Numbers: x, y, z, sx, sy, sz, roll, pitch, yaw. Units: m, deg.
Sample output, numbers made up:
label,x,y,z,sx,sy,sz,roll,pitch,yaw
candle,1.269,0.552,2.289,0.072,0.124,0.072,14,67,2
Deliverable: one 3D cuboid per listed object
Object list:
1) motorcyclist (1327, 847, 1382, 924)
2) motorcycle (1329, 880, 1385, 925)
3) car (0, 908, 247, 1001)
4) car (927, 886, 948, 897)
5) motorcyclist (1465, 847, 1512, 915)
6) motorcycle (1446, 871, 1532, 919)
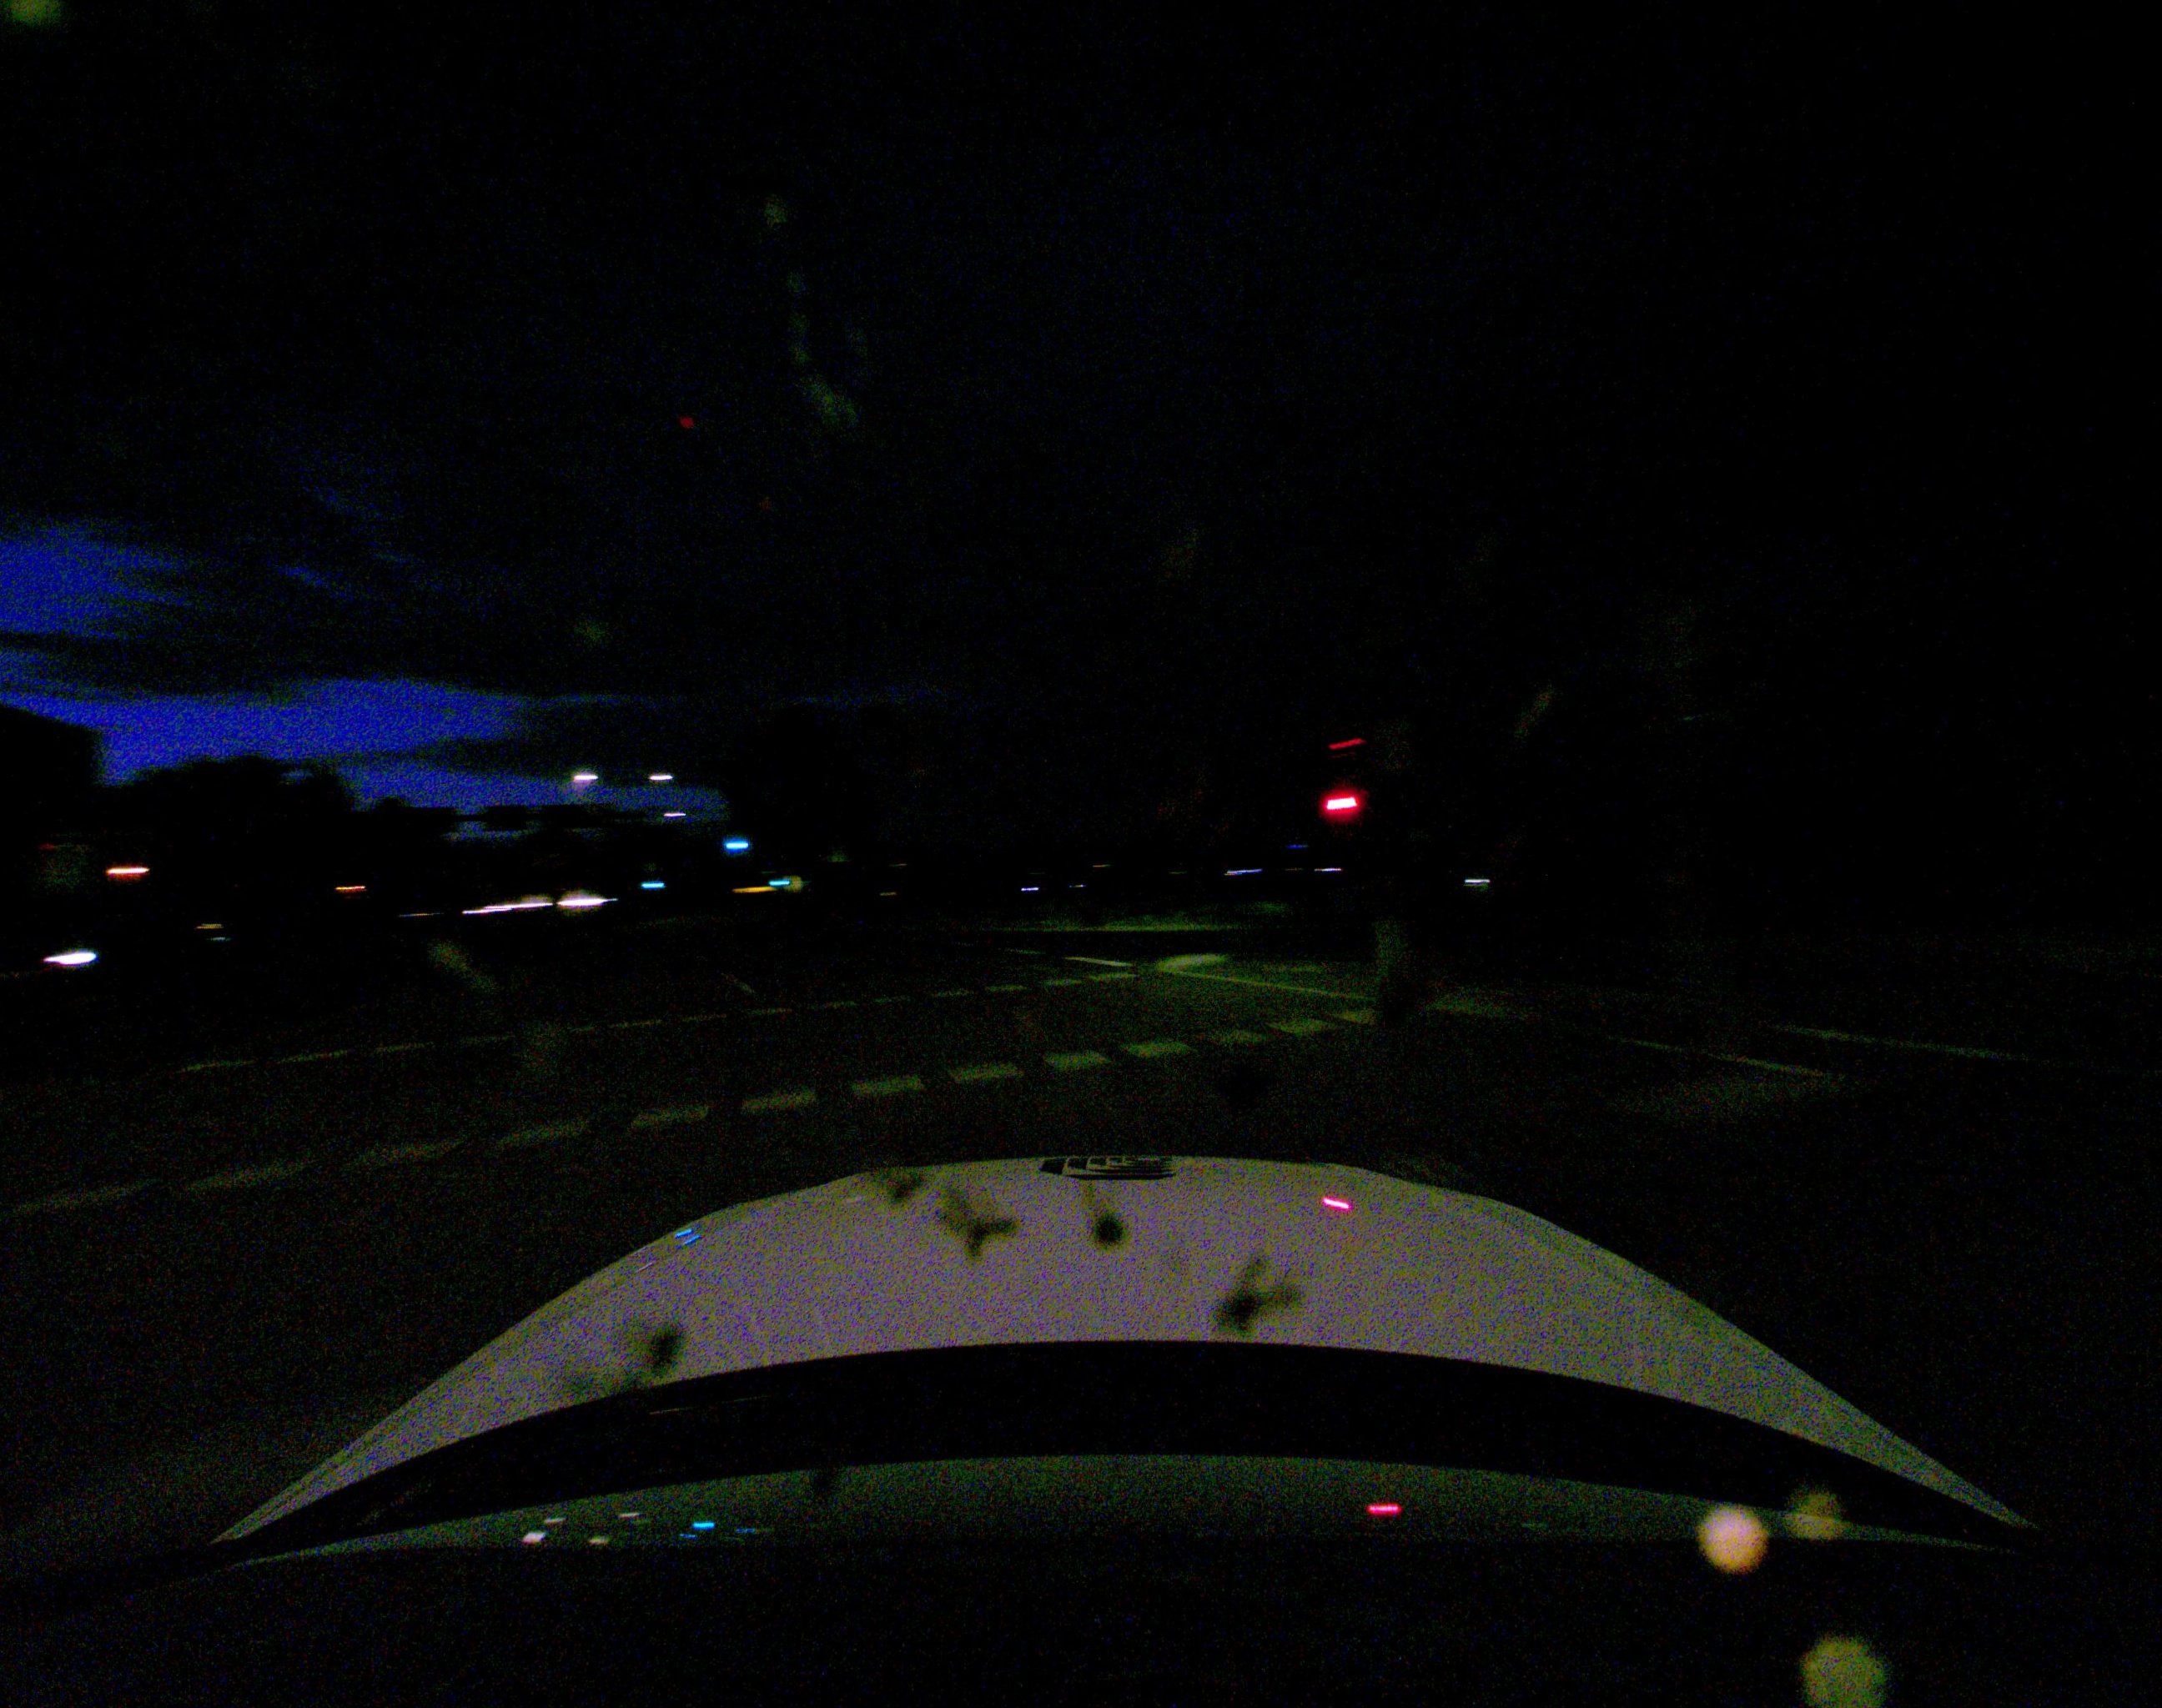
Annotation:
label,x,y,z,sx,sy,sz,roll,pitch,yaw
motorcyclist,6.763,0.814,20.147,0.905,1.810,0.875,-7,-9,39
motorcycle,6.842,1.206,20.129,0.714,1.033,1.586,-7,-8,39
car,-19.193,1.892,16.178,1.879,1.398,4.801,-2,-1,-22
car,-28.452,7.382,161.610,1.975,2.013,4.023,-2,0,24
motorcyclist,10.967,0.735,21.949,0.785,1.760,0.683,-2,-6,-1
motorcycle,10.980,1.118,21.940,1.810,1.182,0.849,-2,-6,-2
